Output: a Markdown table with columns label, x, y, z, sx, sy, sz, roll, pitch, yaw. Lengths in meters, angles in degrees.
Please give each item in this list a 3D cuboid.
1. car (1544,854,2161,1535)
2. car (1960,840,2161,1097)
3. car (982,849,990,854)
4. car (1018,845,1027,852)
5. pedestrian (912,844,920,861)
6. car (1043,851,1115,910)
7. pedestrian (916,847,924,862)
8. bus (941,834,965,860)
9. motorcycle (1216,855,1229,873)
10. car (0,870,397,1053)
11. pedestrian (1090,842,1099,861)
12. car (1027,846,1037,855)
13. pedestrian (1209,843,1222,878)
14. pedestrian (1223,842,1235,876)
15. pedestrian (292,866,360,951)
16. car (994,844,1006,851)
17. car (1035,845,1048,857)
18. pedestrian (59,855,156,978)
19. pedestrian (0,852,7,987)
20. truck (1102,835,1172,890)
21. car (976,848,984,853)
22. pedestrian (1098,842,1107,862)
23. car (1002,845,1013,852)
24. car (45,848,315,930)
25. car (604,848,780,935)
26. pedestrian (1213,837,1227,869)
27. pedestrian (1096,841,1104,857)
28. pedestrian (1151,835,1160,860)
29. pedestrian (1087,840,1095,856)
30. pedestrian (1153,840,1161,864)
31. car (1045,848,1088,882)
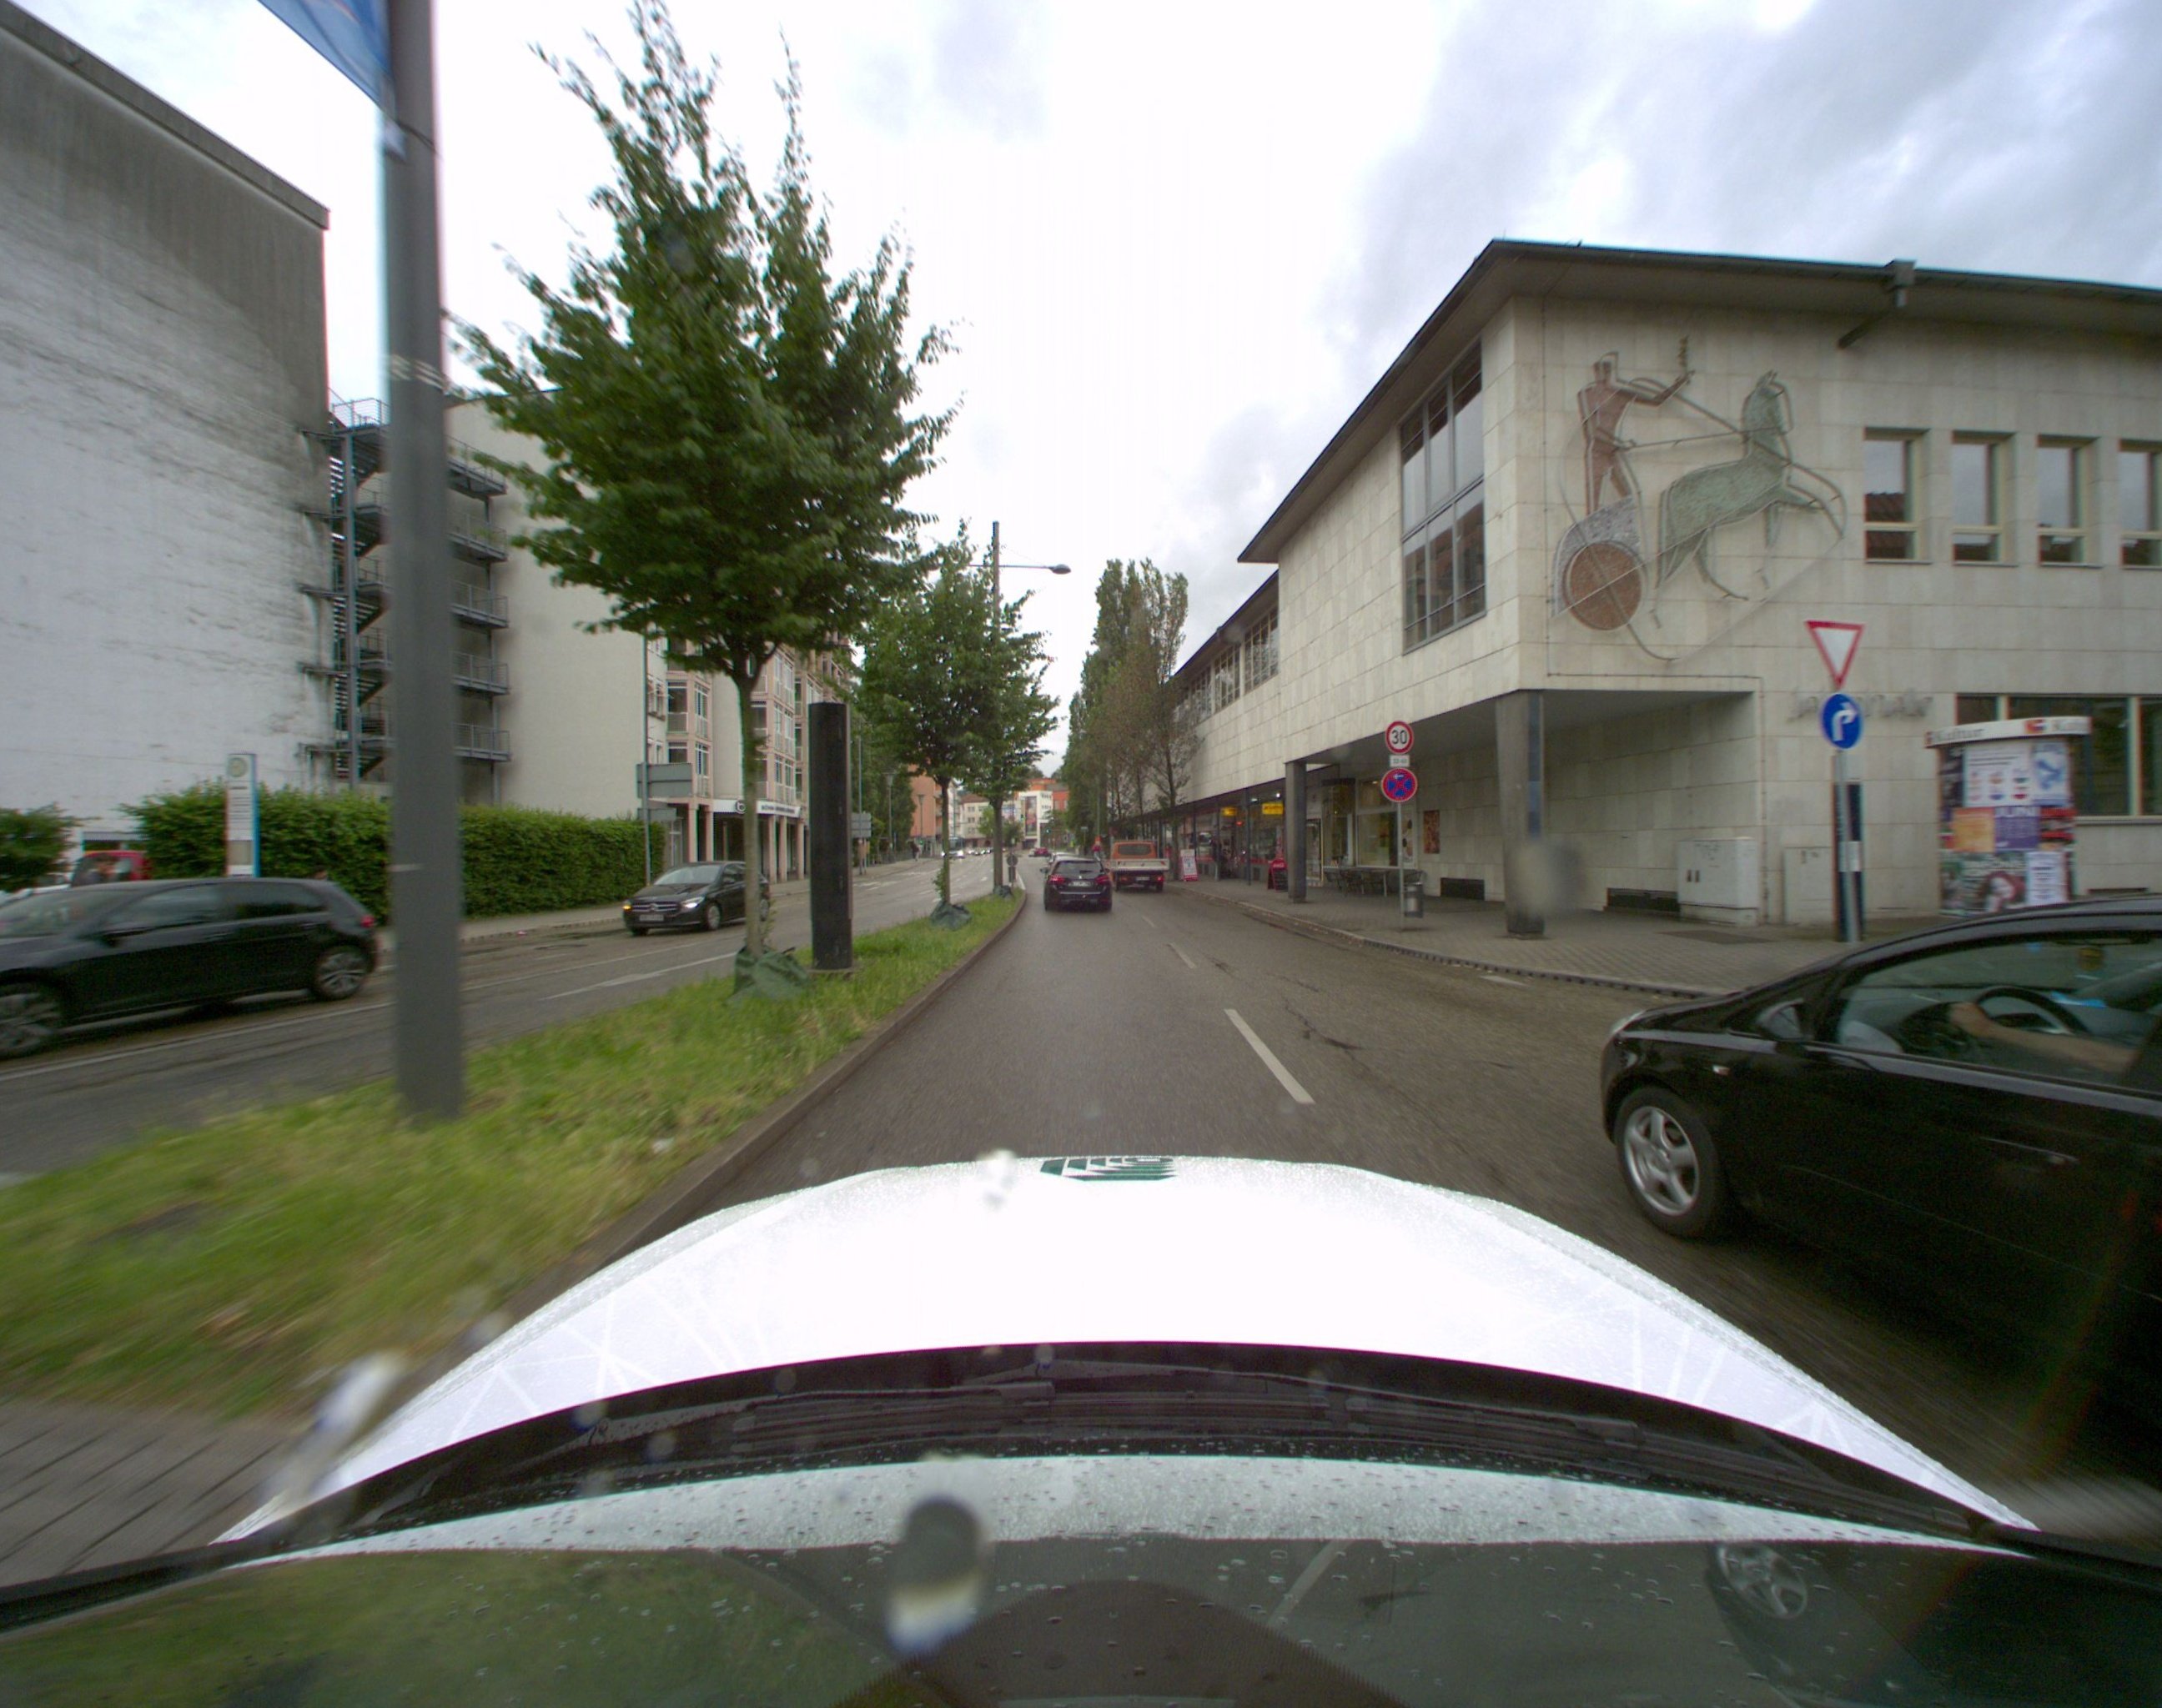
| label | x | y | z | sx | sy | sz | roll | pitch | yaw |
| --- | --- | --- | --- | --- | --- | --- | --- | --- | --- |
| car | 3.201 | 0.756 | 2.248 | 1.703 | 1.457 | 3.741 | 1 | 0 | 0 |
| car | 8.394 | 0.667 | 4.773 | 3.950 | 1.477 | 2.012 | 0 | 0 | 25 |
| car | -23.977 | -0.666 | 204.700 | 1.792 | 1.325 | 4.391 | -1 | 1 | -10 |
| car | -15.084 | -1.330 | 208.403 | 1.993 | 1.684 | 3.988 | -1 | 1 | -9 |
| pedestrian | -17.776 | -0.202 | 87.589 | 0.696 | 1.794 | 0.958 | 0 | 0 | -3 |
| car | -0.071 | 0.686 | 22.608 | 1.789 | 1.483 | 3.998 | 1 | 0 | -1 |
| pedestrian | -19.204 | 0.052 | 97.078 | 0.795 | 1.794 | 0.811 | 0 | 0 | -3 |
| bus | -17.035 | -1.047 | 108.897 | 2.742 | 3.075 | 12.208 | -1 | 2 | -7 |
| motorcycle | 6.598 | 0.470 | 37.945 | 0.323 | 0.804 | 0.918 | -2 | 1 | -5 |
| car | -9.432 | 0.933 | 7.979 | 1.749 | 1.420 | 4.102 | -3 | -1 | 5 |
| pedestrian | 1.246 | -0.221 | 74.490 | 0.652 | 1.767 | 0.921 | -2 | 1 | -6 |
| car | -9.319 | -0.712 | 155.291 | 1.642 | 1.564 | 3.593 | 2 | -2 | -5 |
| pedestrian | 6.135 | 0.274 | 37.094 | 0.428 | 1.566 | 0.508 | -2 | 1 | -7 |
| pedestrian | 6.888 | 0.244 | 37.853 | 0.387 | 1.566 | 0.429 | -2 | 1 | -8 |
| pedestrian | -14.397 | 1.026 | 15.548 | 0.712 | 1.559 | 0.565 | -1 | 1 | -3 |
| car | -21.434 | -1.738 | 215.585 | 1.655 | 1.564 | 3.565 | 3 | -2 | -30 |
| car | -5.502 | -0.418 | 114.385 | 1.642 | 1.564 | 3.593 | 2 | -2 | -5 |
| pedestrian | -14.369 | 0.908 | 12.036 | 0.639 | 1.765 | 0.593 | -1 | -3 | 3 |
| pedestrian | -14.406 | 0.860 | 10.394 | 0.524 | 1.764 | 0.631 | -1 | 0 | 3 |
| truck | 2.125 | 0.312 | 32.421 | 2.118 | 2.025 | 4.708 | 0 | 0 | -4 |
| car | -24.449 | -0.844 | 196.423 | 1.789 | 1.325 | 4.398 | -1 | 1 | -6 |
| pedestrian | 1.963 | -0.217 | 74.485 | 0.697 | 1.801 | 0.605 | -2 | 1 | -6 |
| car | -19.739 | -1.434 | 219.305 | 1.655 | 1.564 | 3.565 | 3 | -2 | -30 |
| car | -18.627 | 0.654 | 17.098 | 1.589 | 1.510 | 3.601 | -1 | 0 | 1 |
| car | -8.874 | 0.770 | 19.031 | 1.820 | 1.736 | 4.262 | -3 | 0 | 3 |
| pedestrian | 6.946 | -0.055 | 40.748 | 0.425 | 1.566 | 0.513 | -1 | 1 | 40 |
| pedestrian | 1.906 | -0.514 | 81.133 | 0.725 | 1.589 | 0.605 | -2 | 1 | -6 |
| pedestrian | 5.179 | -0.475 | 56.758 | 0.534 | 1.718 | 0.535 | -1 | 1 | 3 |
| pedestrian | 0.998 | -0.597 | 81.584 | 0.716 | 1.620 | 0.768 | -2 | 1 | -6 |
| pedestrian | 5.357 | -0.150 | 57.376 | 0.534 | 1.718 | 0.535 | -1 | 1 | 4 |
| car | -0.738 | 0.458 | 38.320 | 1.791 | 1.483 | 3.995 | -1 | 0 | -4 |
